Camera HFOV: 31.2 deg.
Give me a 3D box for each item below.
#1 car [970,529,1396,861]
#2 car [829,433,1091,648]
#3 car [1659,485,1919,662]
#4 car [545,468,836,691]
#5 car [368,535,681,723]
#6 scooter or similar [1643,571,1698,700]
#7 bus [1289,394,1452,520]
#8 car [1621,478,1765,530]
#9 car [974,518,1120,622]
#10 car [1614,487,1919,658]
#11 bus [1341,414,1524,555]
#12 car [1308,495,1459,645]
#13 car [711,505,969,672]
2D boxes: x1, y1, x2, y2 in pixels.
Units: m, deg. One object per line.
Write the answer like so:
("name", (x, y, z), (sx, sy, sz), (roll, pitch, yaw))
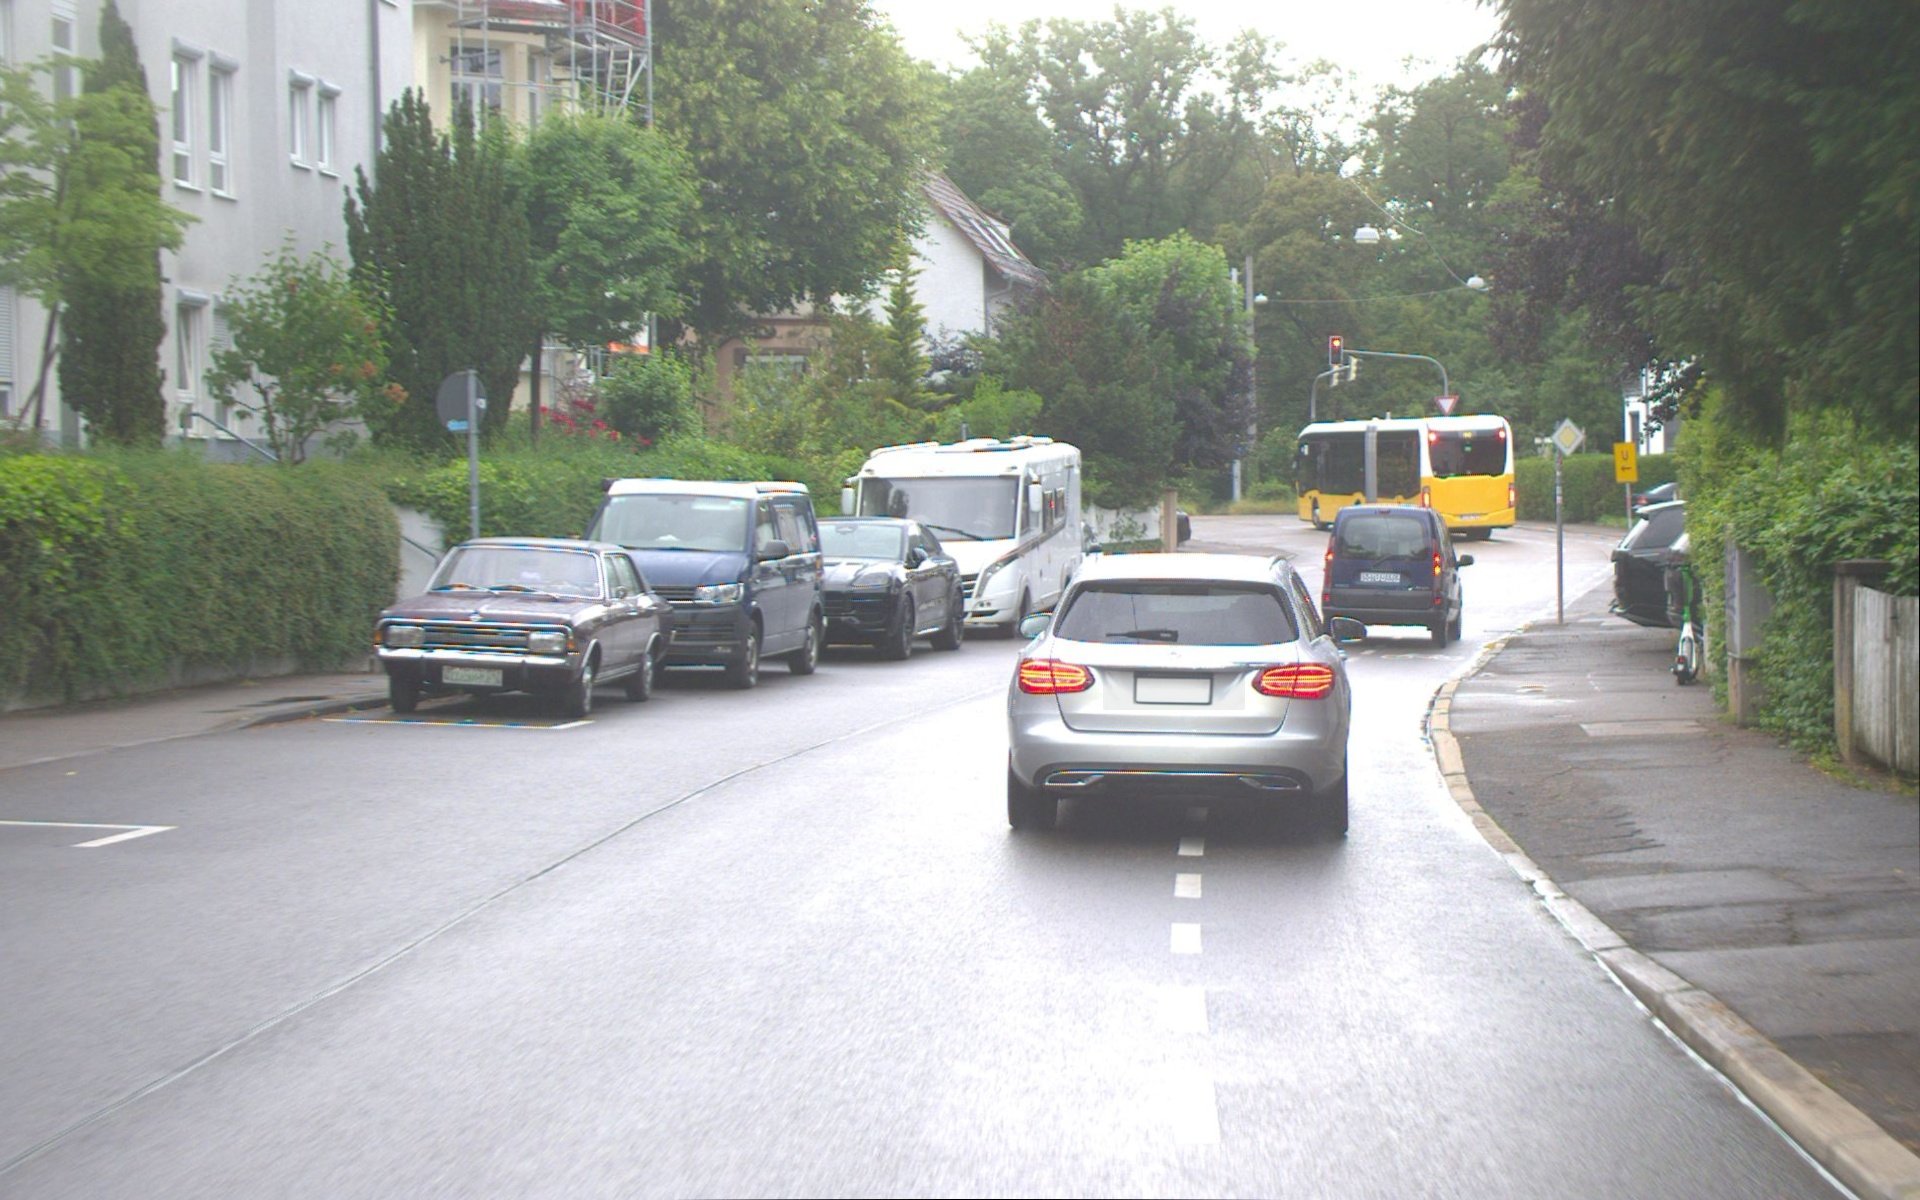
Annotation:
("car", (1.335, 0.422, 18.899), (1.817, 1.551, 3.998), (2, 2, 11))
("car", (0.109, -0.933, 48.239), (2.392, 2.762, 6.529), (2, 3, 11))
("car", (10.142, -0.346, 37.774), (4.664, 1.806, 1.999), (-2, 1, 9))
("car", (-2.630, -0.231, 34.774), (1.830, 2.049, 5.008), (1, 1, 8))
("car", (-3.613, 0.181, 29.322), (1.644, 1.412, 4.612), (1, 2, 6))
("scooter or similar", (6.877, 0.328, 33.294), (0.456, 1.196, 1.865), (2, 1, 11))
("bus", (12.533, -4.498, 105.937), (2.928, 3.638, 10.305), (1, 3, -5))
("car", (22.690, -2.978, 106.464), (3.986, 1.525, 1.759), (1, 3, -6))
("car", (1.403, -0.500, 54.032), (1.713, 1.442, 3.253), (2, 3, 12))
("car", (10.250, -0.361, 41.037), (4.664, 1.868, 1.999), (-2, 1, 9))
("bus", (13.211, -3.359, 97.109), (2.928, 3.638, 10.171), (1, 3, -5))
("car", (5.710, -0.415, 46.010), (1.843, 1.897, 3.999), (1, 1, 9))
("car", (-1.354, -0.197, 40.942), (1.994, 1.682, 4.675), (2, 3, 12))
